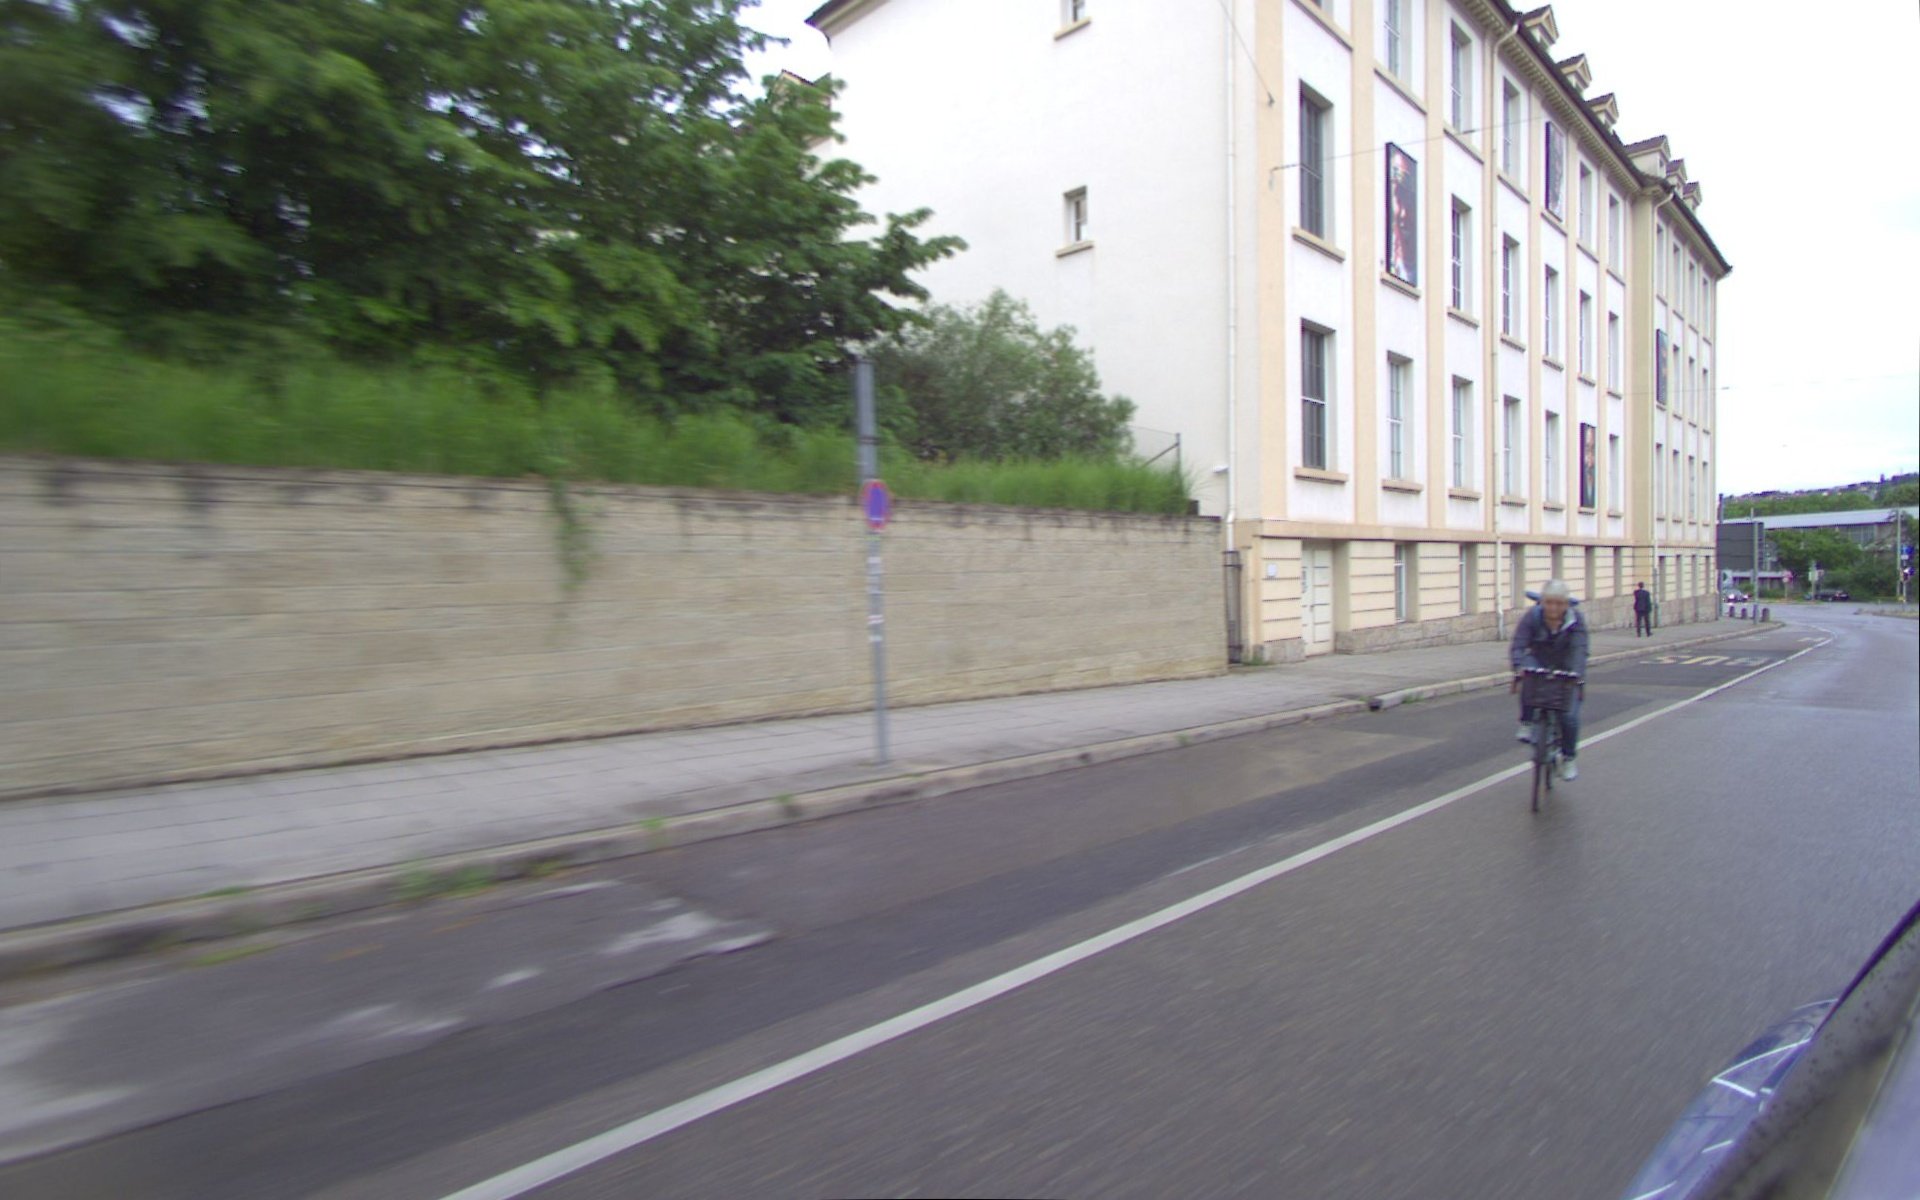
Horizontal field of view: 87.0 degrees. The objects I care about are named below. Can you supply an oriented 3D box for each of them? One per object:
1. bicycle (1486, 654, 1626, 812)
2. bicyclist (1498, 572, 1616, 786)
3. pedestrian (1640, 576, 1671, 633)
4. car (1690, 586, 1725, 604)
[{"bbox_3d":[4.427,0.924,7.471,1.661,0.975,0.448,0,-1,-43],"label":"bicycle"},{"bbox_3d":[4.360,0.531,7.376,0.915,1.451,0.485,-1,0,-43],"label":"bicyclist"},{"bbox_3d":[22.830,0.137,33.226,0.838,1.820,0.671,0,2,-44],"label":"pedestrian"},{"bbox_3d":[82.809,-0.619,112.207,2.054,1.935,4.527,1,1,23],"label":"car"}]
